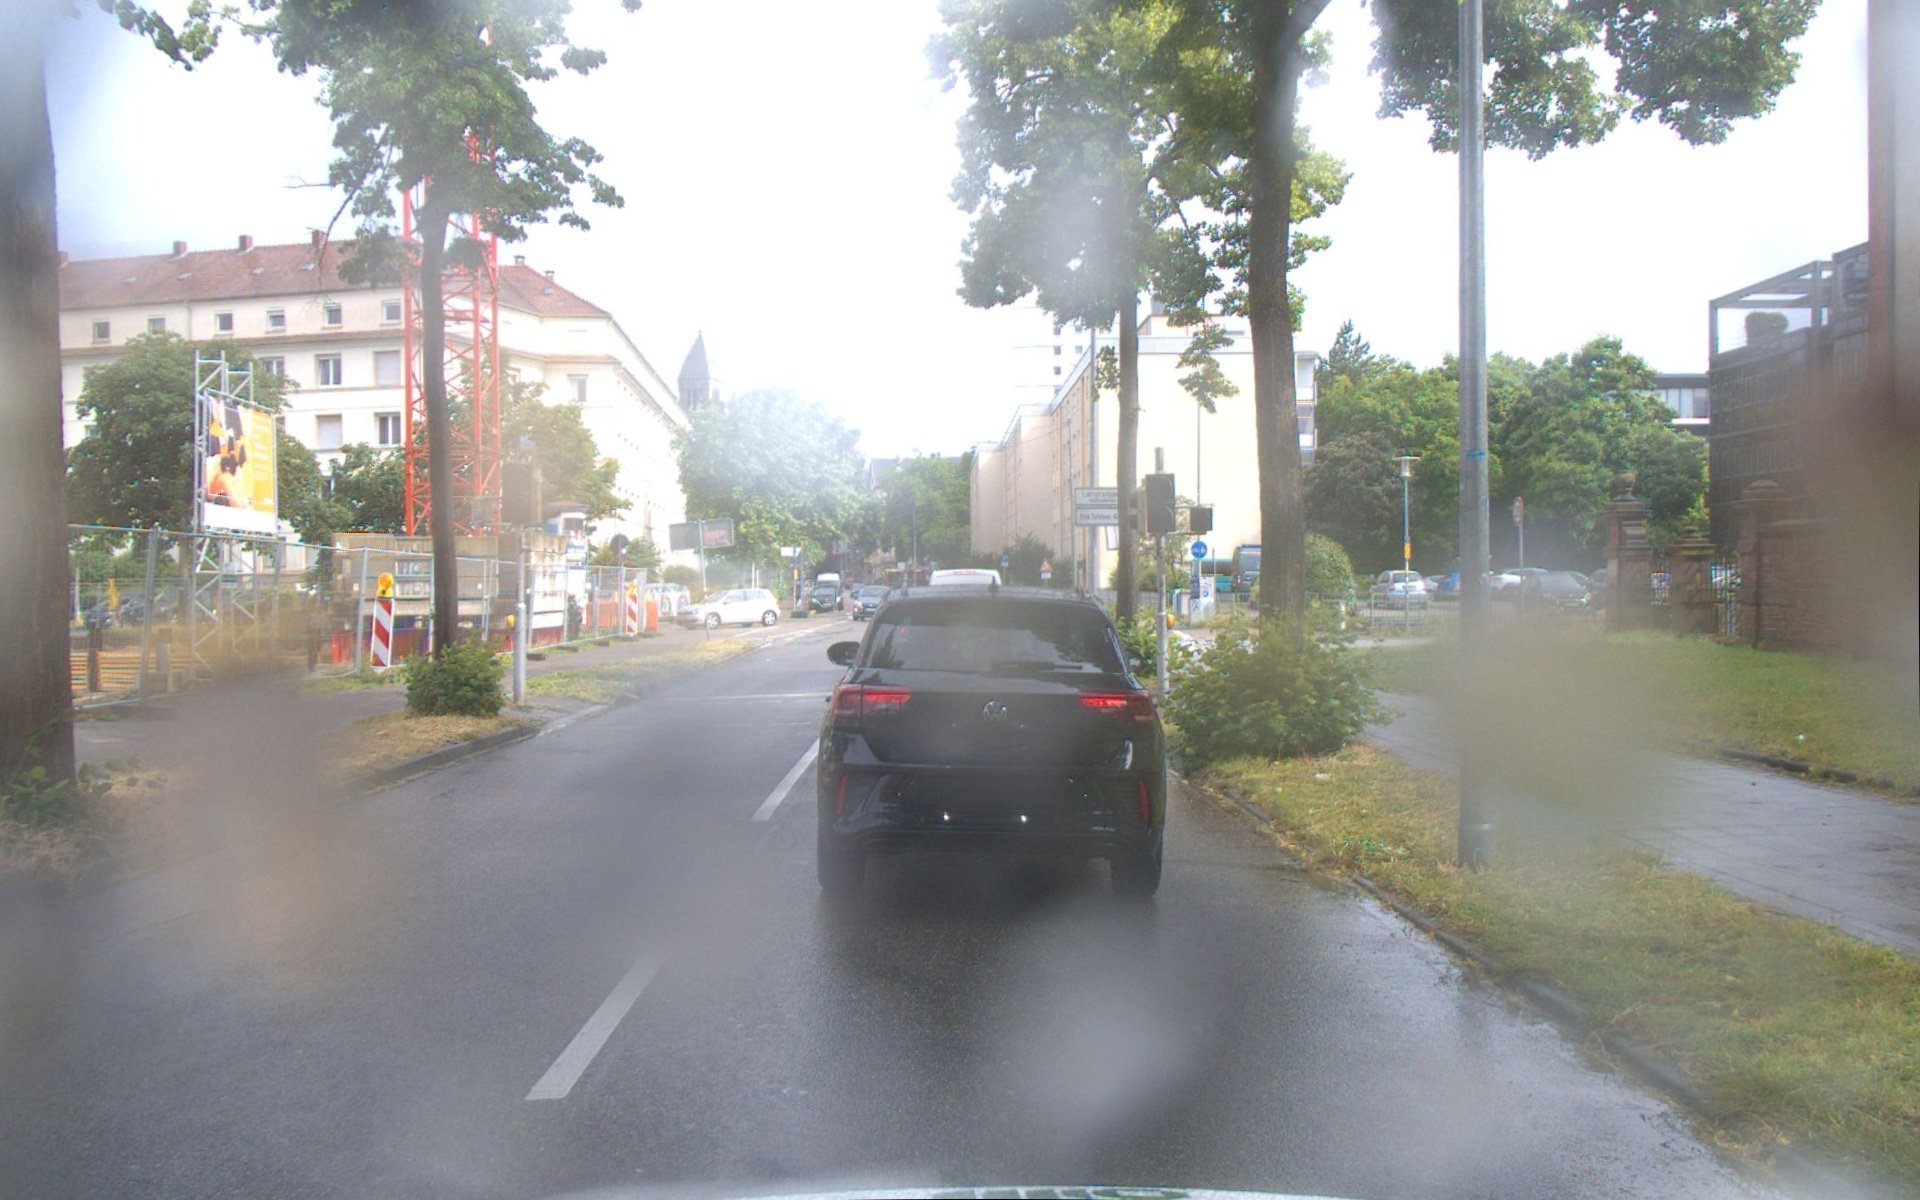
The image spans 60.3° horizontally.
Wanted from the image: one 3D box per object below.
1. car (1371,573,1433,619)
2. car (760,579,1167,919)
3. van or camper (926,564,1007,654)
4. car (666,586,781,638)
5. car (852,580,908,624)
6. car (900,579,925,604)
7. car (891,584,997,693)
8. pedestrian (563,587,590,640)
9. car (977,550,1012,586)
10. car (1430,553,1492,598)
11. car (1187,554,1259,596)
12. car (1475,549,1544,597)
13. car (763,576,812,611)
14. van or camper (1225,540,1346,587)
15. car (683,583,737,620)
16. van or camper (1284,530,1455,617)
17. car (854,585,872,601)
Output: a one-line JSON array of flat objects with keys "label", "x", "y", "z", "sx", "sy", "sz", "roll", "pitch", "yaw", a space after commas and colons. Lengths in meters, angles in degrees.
[{"label": "car", "x": 17.771, "y": -0.181, "z": 66.648, "sx": 1.706, "sy": 1.713, "sz": 3.873, "roll": -4, "pitch": 0, "yaw": 5}, {"label": "car", "x": 0.007, "y": 0.658, "z": 9.560, "sx": 1.856, "sy": 1.549, "sz": 4.000, "roll": 0, "pitch": 1, "yaw": 0}, {"label": "van or camper", "x": 0.173, "y": 0.170, "z": 38.425, "sx": 1.782, "sy": 1.981, "sz": 4.195, "roll": 0, "pitch": 1, "yaw": 1}, {"label": "car", "x": -8.917, "y": 0.461, "z": 62.412, "sx": 3.887, "sy": 1.679, "sz": 1.740, "roll": -4, "pitch": 0, "yaw": -33}, {"label": "car", "x": -3.417, "y": 0.065, "z": 71.523, "sx": 1.751, "sy": 1.713, "sz": 4.489, "roll": -4, "pitch": 1, "yaw": 5}, {"label": "car", "x": -3.154, "y": -0.589, "z": 110.149, "sx": 1.559, "sy": 1.538, "sz": 3.730, "roll": -4, "pitch": 1, "yaw": -2}, {"label": "car", "x": -0.230, "y": 0.655, "z": 29.798, "sx": 1.645, "sy": 1.738, "sz": 3.911, "roll": -3, "pitch": 0, "yaw": 2}, {"label": "pedestrian", "x": -11.184, "y": 0.392, "z": 48.242, "sx": 0.652, "sy": 1.511, "sz": 0.667, "roll": -1, "pitch": 1, "yaw": -25}, {"label": "car", "x": 2.039, "y": -1.871, "z": 98.561, "sx": 1.953, "sy": 2.049, "sz": 3.999, "roll": 0, "pitch": 0, "yaw": -1}, {"label": "car", "x": 24.909, "y": -1.216, "z": 82.310, "sx": 1.952, "sy": 2.048, "sz": 4.002, "roll": -4, "pitch": 0, "yaw": 3}, {"label": "car", "x": 12.794, "y": -1.233, "z": 80.599, "sx": 3.335, "sy": 1.812, "sz": 1.761, "roll": -4, "pitch": 0, "yaw": 8}, {"label": "car", "x": 25.366, "y": -1.218, "z": 76.489, "sx": 1.952, "sy": 2.048, "sz": 4.002, "roll": -4, "pitch": 0, "yaw": 3}, {"label": "car", "x": -8.184, "y": -0.337, "z": 78.791, "sx": 1.557, "sy": 1.538, "sz": 3.734, "roll": -4, "pitch": 1, "yaw": 5}, {"label": "van or camper", "x": 13.896, "y": -1.563, "z": 70.736, "sx": 4.775, "sy": 1.959, "sz": 2.131, "roll": 0, "pitch": 1, "yaw": 0}, {"label": "car", "x": -11.556, "y": 0.048, "z": 76.648, "sx": 1.557, "sy": 1.538, "sz": 3.734, "roll": -4, "pitch": 1, "yaw": 5}, {"label": "van or camper", "x": 13.173, "y": -0.856, "z": 53.387, "sx": 4.931, "sy": 2.641, "sz": 2.167, "roll": -1, "pitch": 0, "yaw": -2}, {"label": "car", "x": -9.902, "y": -0.693, "z": 169.025, "sx": 1.559, "sy": 1.538, "sz": 3.730, "roll": -4, "pitch": 1, "yaw": -2}]
